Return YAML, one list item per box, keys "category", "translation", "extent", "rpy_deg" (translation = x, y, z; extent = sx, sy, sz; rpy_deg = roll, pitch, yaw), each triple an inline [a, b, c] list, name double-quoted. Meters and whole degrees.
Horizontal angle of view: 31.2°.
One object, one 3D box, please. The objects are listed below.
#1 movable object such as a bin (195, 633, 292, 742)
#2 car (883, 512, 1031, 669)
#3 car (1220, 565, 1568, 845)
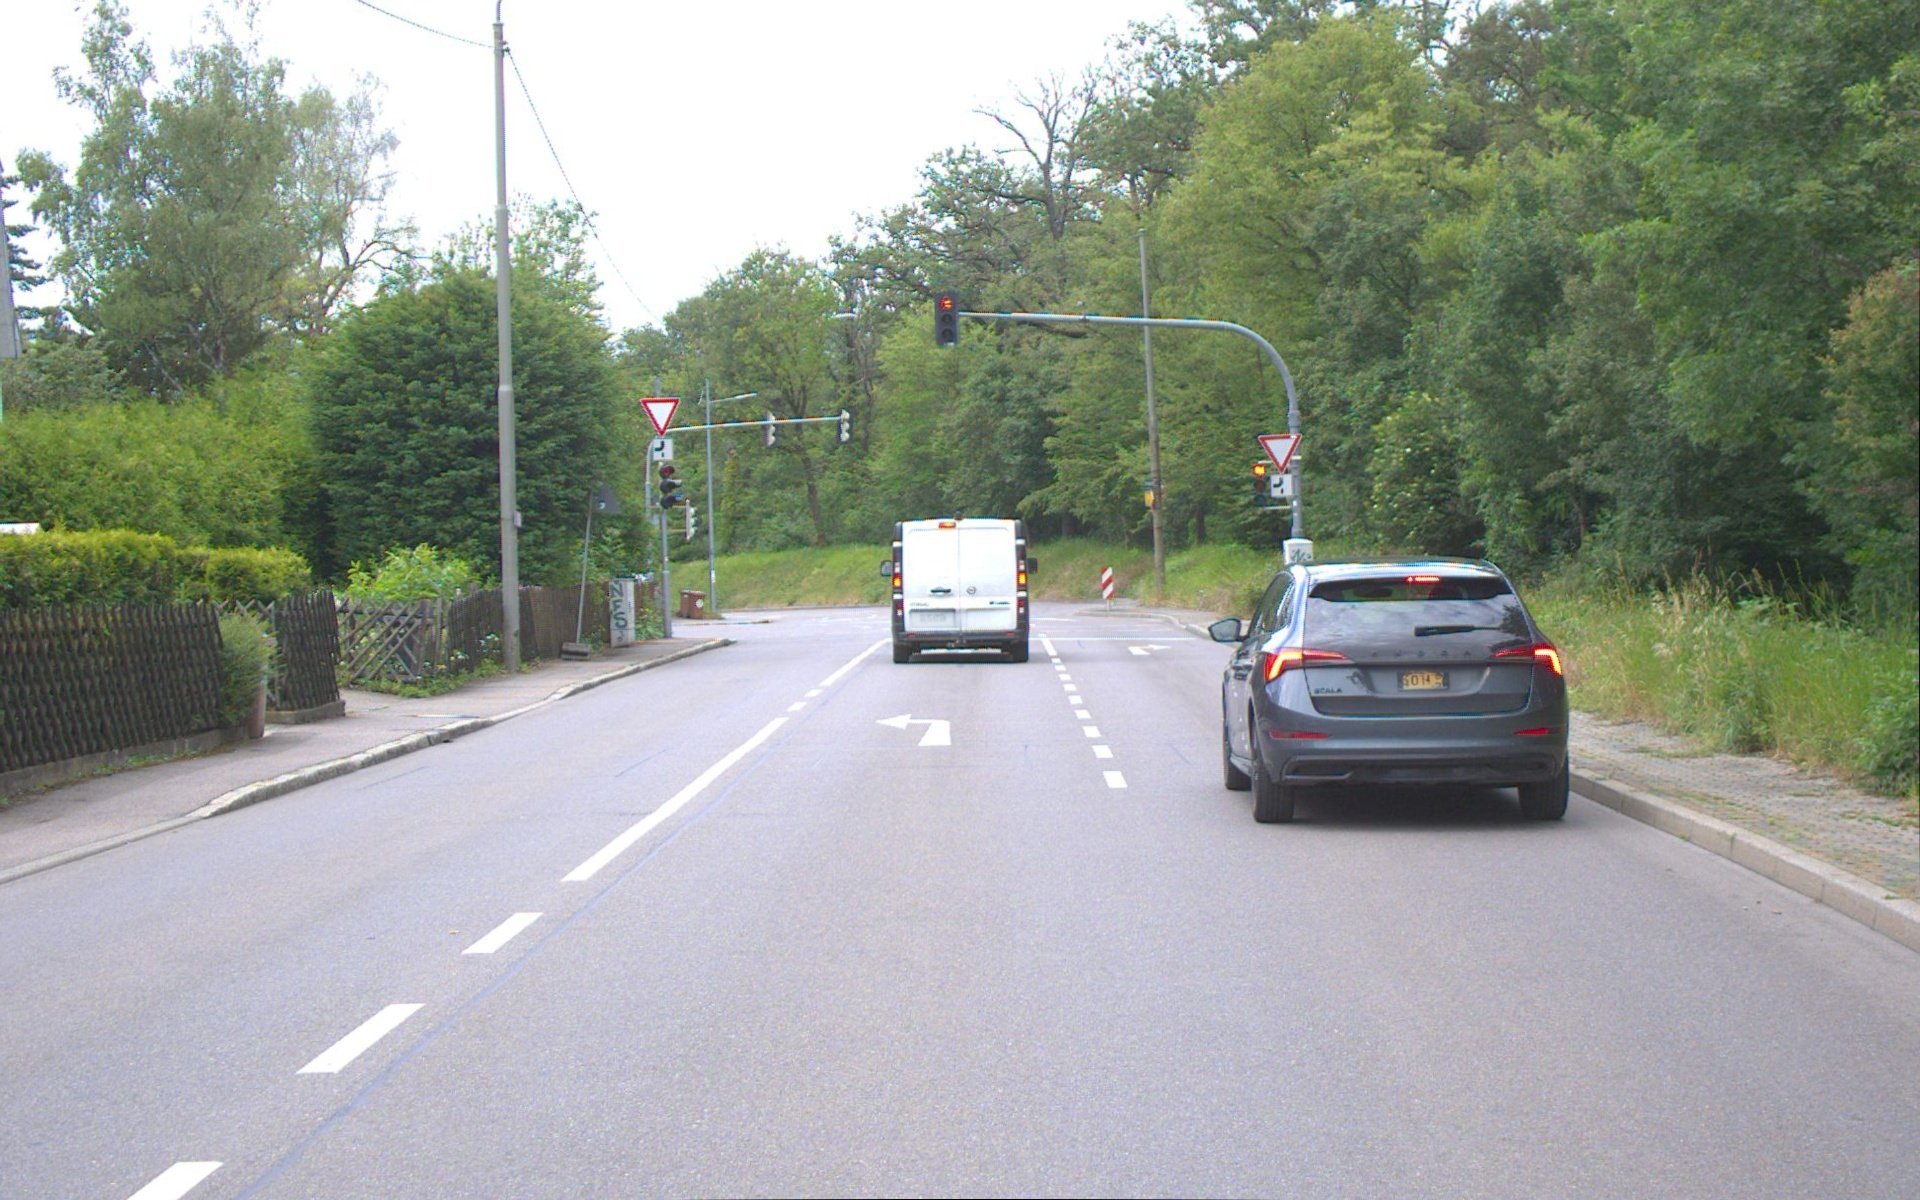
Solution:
- category: "movable object such as a bin"
  translation: [-6.213, 0.754, 29.837]
  extent: [0.633, 0.910, 0.560]
  rpy_deg: [2, 1, 13]
- category: "car"
  translation: [-0.095, -0.151, 48.074]
  extent: [1.916, 2.046, 4.614]
  rpy_deg: [-1, 1, -1]
- category: "car"
  translation: [2.472, 0.536, 20.137]
  extent: [1.793, 1.445, 3.999]
  rpy_deg: [-1, 1, 5]
